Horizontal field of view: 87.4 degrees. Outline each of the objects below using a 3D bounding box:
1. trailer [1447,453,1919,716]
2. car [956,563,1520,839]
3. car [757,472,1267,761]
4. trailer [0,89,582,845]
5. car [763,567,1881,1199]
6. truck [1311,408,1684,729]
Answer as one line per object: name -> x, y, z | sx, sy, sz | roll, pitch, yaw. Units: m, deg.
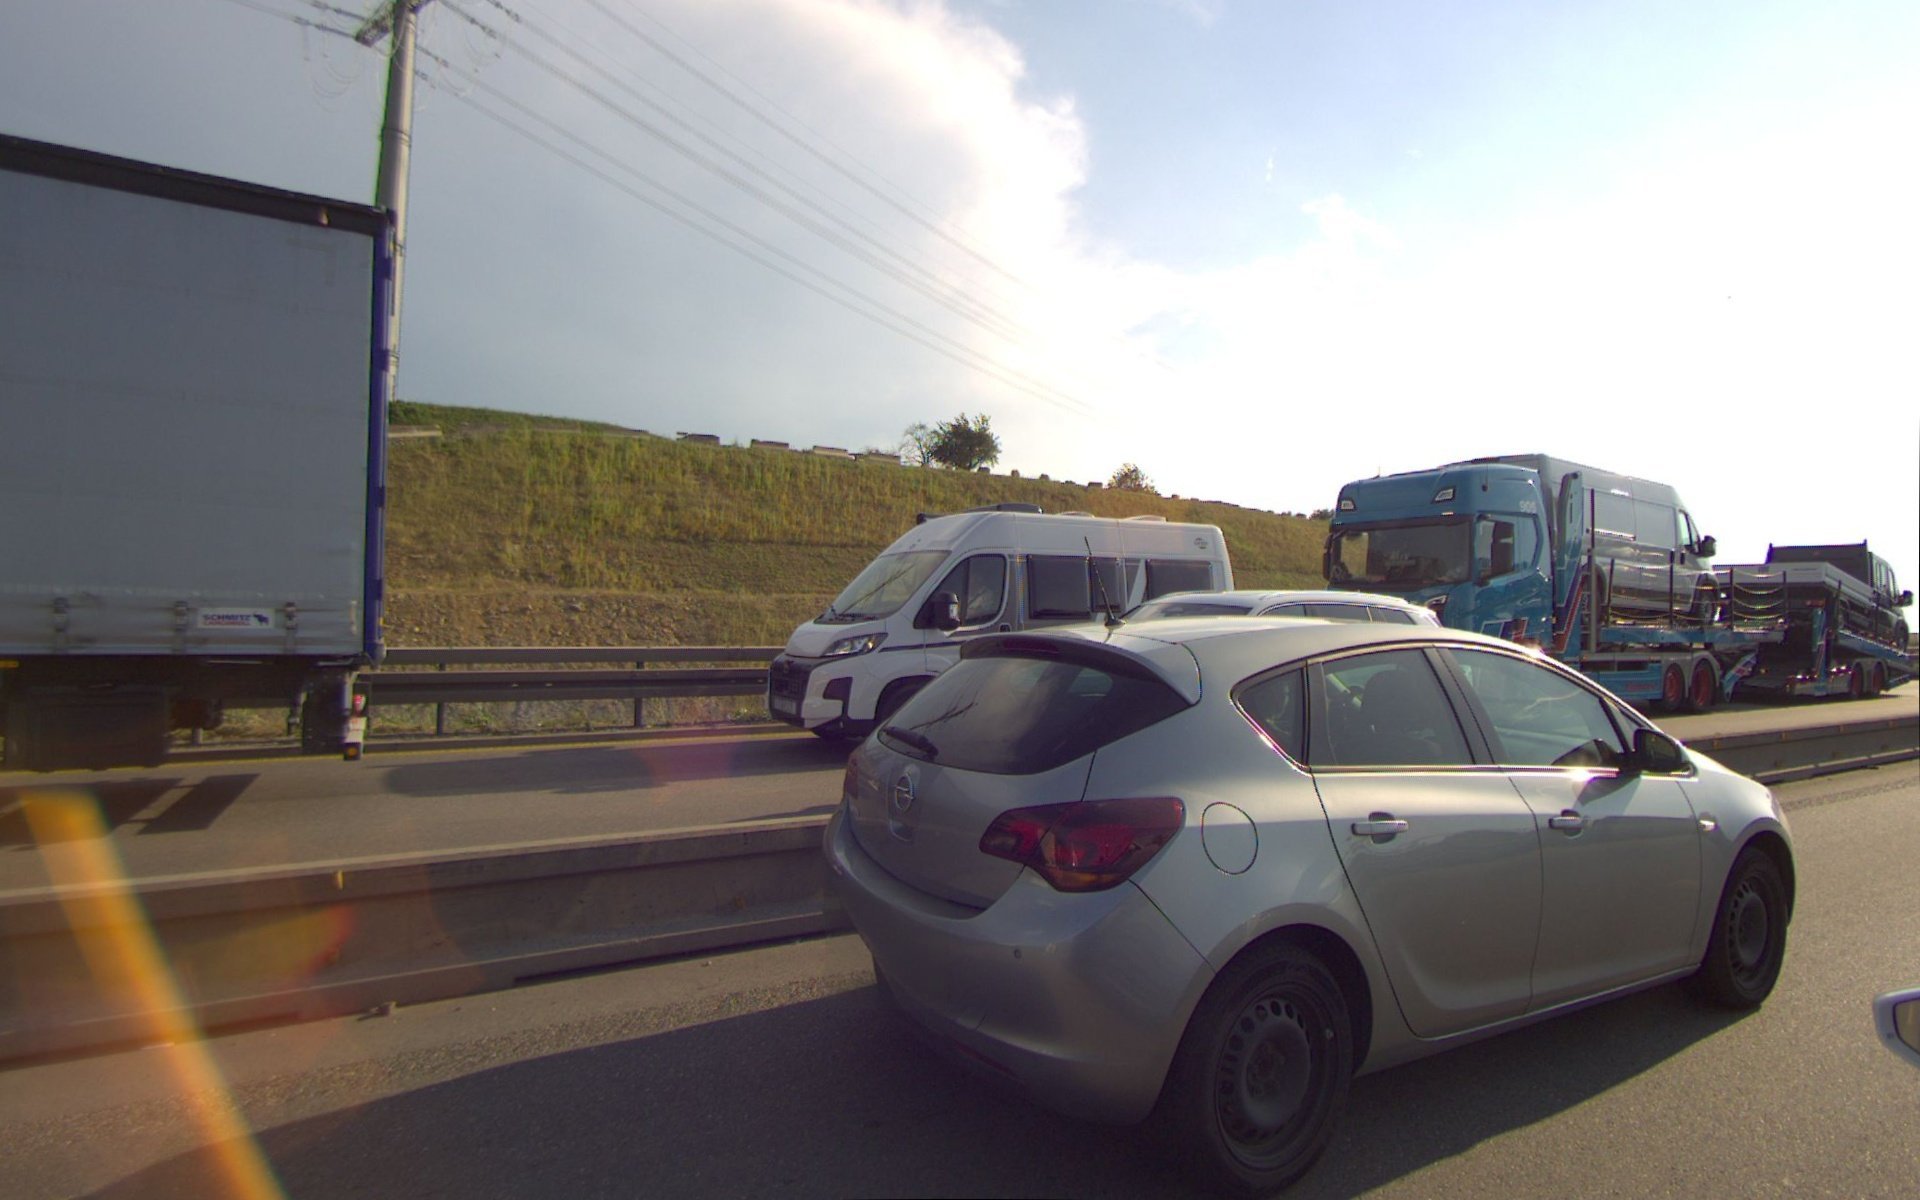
trailer -> 15.516, -0.035, 20.178 | 15.221, 3.924, 2.680 | 2, -1, -32
car -> 2.390, 0.690, 8.242 | 4.543, 1.716, 1.861 | 2, -1, -31
car -> 0.732, 0.221, 11.364 | 5.526, 2.591, 2.146 | 2, -1, -32
trailer -> -9.490, -0.839, 4.429 | 14.430, 4.185, 2.296 | 2, -1, -31
car -> 1.602, 0.740, 3.872 | 4.303, 1.492, 1.747 | 2, -1, -31
truck -> 8.382, -0.329, 15.485 | 5.818, 4.119, 2.490 | 2, -1, -32
